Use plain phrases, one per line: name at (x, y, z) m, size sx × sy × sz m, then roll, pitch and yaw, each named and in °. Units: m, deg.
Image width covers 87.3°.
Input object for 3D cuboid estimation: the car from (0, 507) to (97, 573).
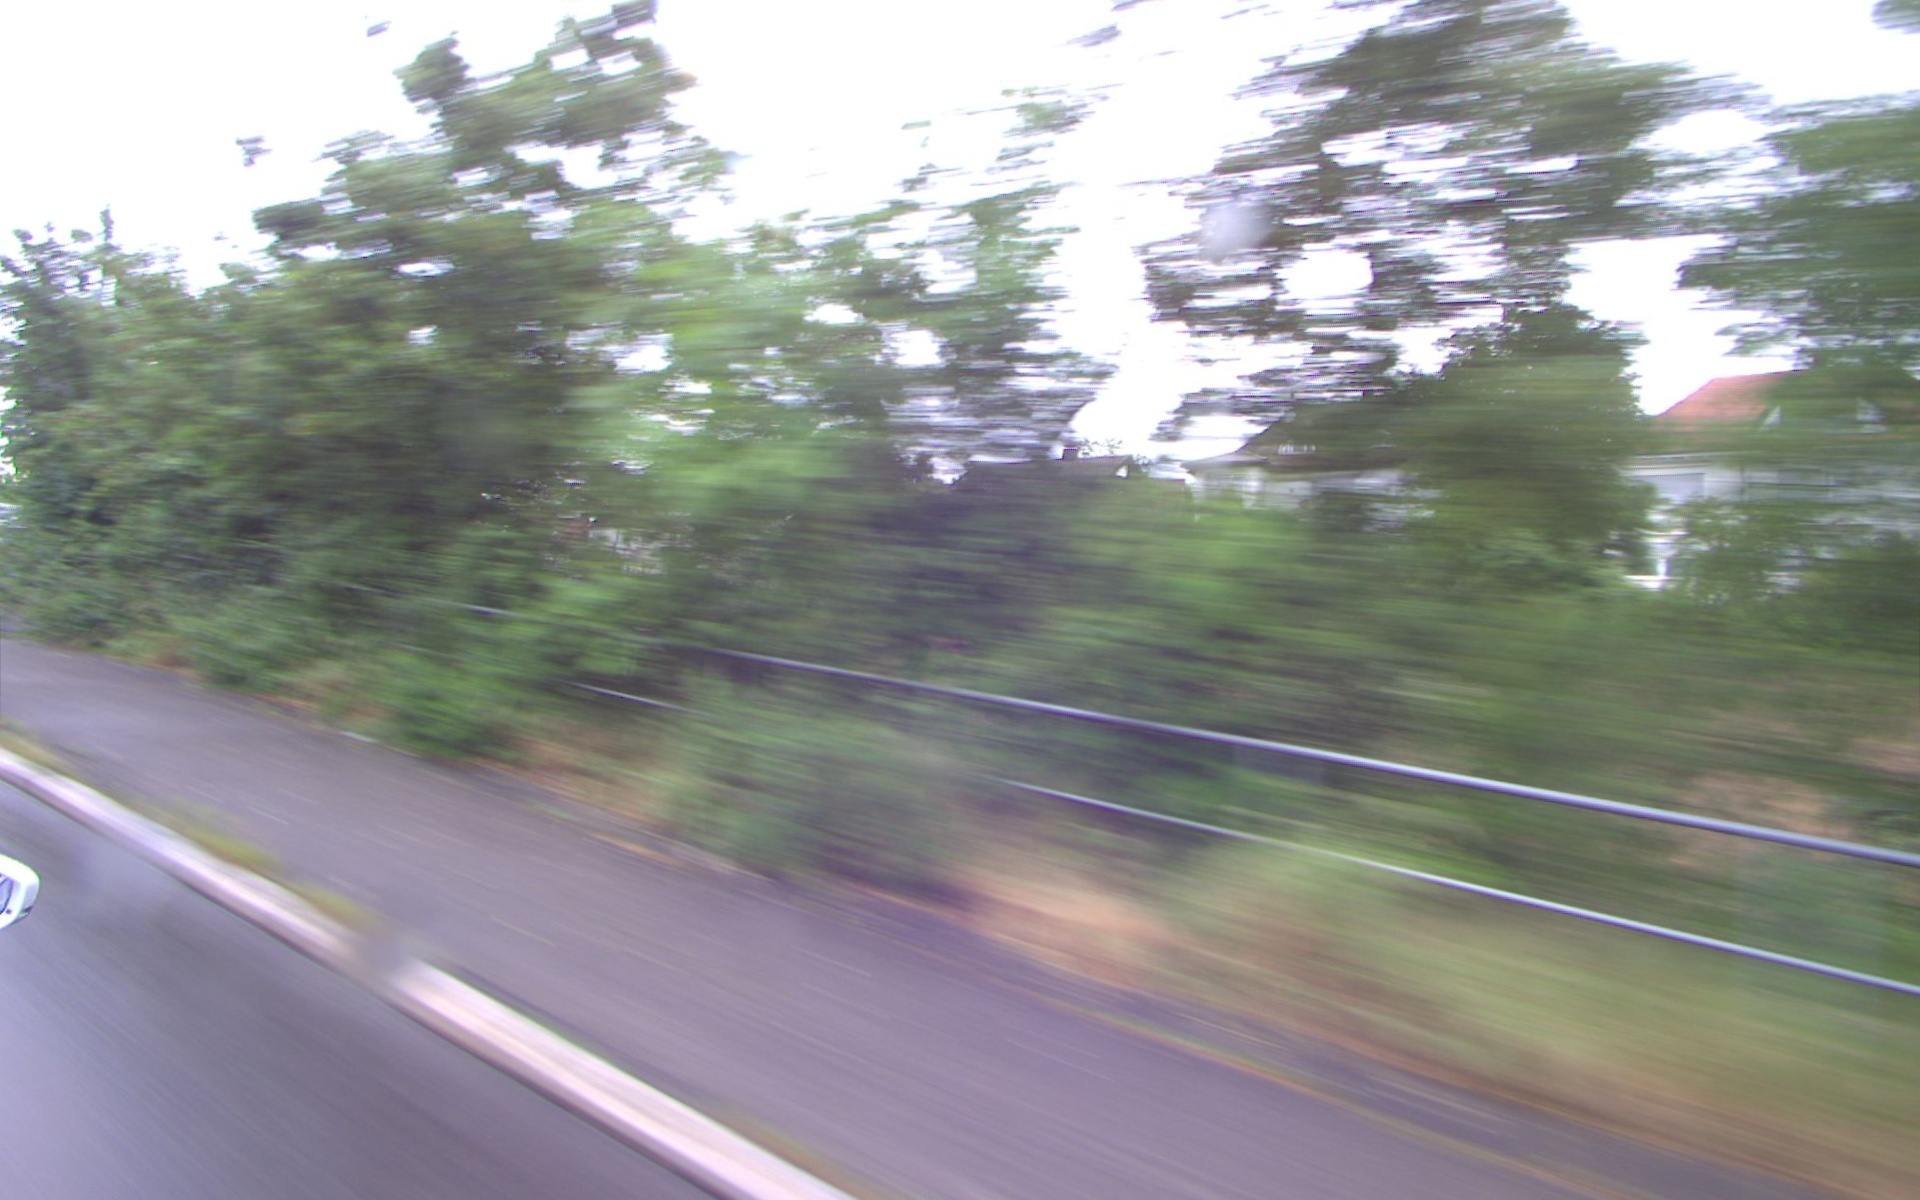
car at (-22.626, -1.472, 23.815) m, size 1.870 × 1.405 × 3.984 m, roll 7°, pitch -1°, yaw -19°
